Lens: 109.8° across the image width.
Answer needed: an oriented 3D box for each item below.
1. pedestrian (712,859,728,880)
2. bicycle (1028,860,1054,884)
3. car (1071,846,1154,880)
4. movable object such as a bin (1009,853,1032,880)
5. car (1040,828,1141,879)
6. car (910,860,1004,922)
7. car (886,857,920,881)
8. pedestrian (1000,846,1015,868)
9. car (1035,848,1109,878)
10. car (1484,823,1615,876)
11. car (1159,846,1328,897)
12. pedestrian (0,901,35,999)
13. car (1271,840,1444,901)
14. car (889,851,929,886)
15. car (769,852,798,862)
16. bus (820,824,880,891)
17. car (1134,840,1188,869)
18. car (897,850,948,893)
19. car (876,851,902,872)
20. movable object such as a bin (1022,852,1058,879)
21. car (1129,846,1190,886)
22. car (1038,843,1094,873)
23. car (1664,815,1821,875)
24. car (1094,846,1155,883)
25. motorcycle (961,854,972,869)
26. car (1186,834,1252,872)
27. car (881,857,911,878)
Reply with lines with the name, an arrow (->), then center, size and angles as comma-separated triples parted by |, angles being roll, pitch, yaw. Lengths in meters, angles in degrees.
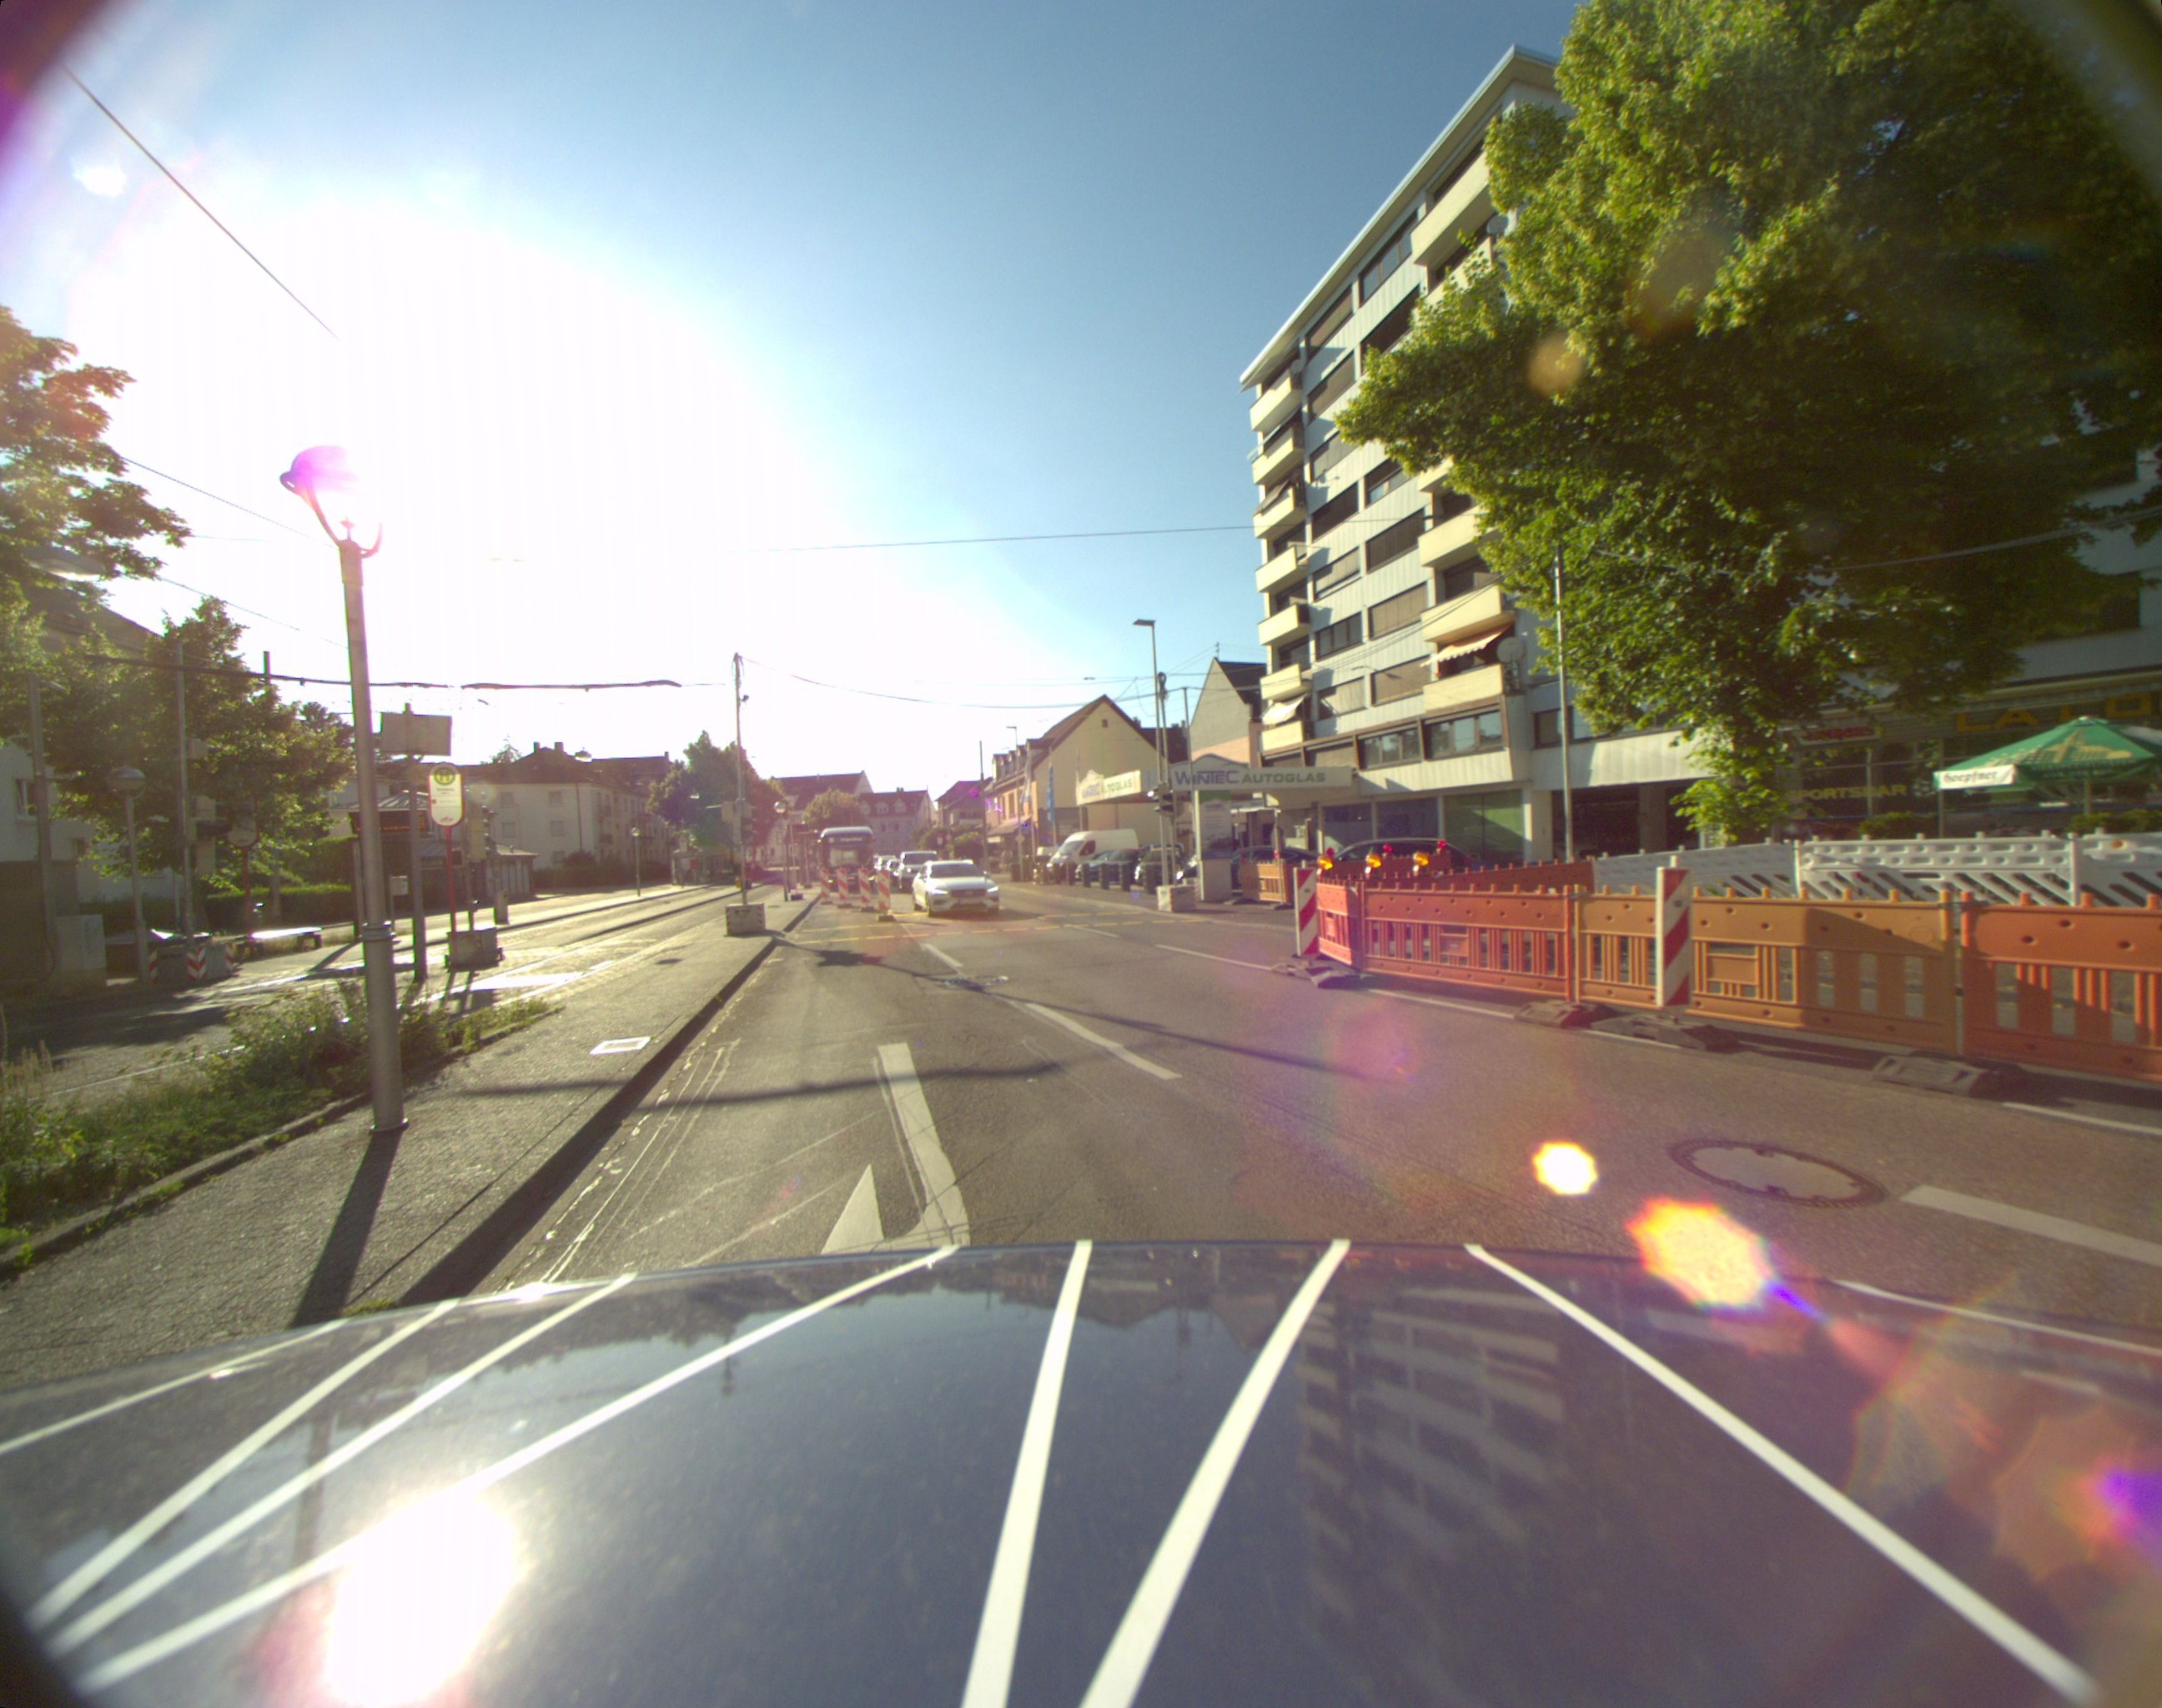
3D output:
pedestrian -> -28.953, 1.250, 60.992 | 0.840, 1.601, 0.827 | -1, 2, 40
bicycle -> -1.923, 0.855, 36.427 | 0.726, 1.080, 1.789 | -3, 1, -19
car -> 1.578, 0.417, 37.332 | 4.038, 1.488, 1.738 | -3, 2, -44
movable object such as a bin -> -3.419, 0.720, 42.894 | 1.046, 1.456, 0.797 | -1, 1, 16
car -> 0.539, -0.064, 39.685 | 5.000, 2.440, 2.109 | -3, 2, -38
car -> -3.531, 0.938, 21.023 | 1.824, 1.446, 4.210 | -2, 1, -19
car -> -11.898, 0.935, 50.494 | 1.972, 1.451, 4.817 | -2, 1, -15
pedestrian -> -5.843, 0.254, 60.171 | 0.811, 1.703, 0.857 | -3, 2, -34
car -> -0.457, 0.459, 42.498 | 4.038, 1.469, 1.738 | -3, 2, -44
car -> 16.319, -0.162, 26.648 | 1.725, 1.664, 3.625 | -2, 1, -19
car -> 4.930, 0.529, 23.139 | 4.677, 1.430, 1.936 | -1, 1, 25
pedestrian -> -18.655, 1.644, 12.826 | 0.792, 1.611, 0.825 | -2, 1, -23
car -> 7.004, 0.400, 19.558 | 3.880, 1.430, 1.596 | -1, 1, 4
car -> -9.912, 0.782, 43.596 | 1.972, 1.816, 5.026 | -2, 1, -15
car -> -56.048, 0.555, 143.128 | 4.590, 1.846, 1.741 | -2, 1, 0
bus -> -13.303, 0.149, 44.087 | 2.752, 3.284, 12.014 | -2, 1, -16
car -> 5.898, 0.013, 56.128 | 3.677, 2.002, 1.449 | -2, 1, -19
car -> -7.459, 0.758, 35.355 | 1.972, 1.816, 5.026 | -2, 1, -15
car -> -16.702, 0.620, 65.915 | 1.972, 1.694, 4.817 | -2, 1, -15
movable object such as a bin -> -2.379, 0.669, 44.196 | 1.799, 1.456, 1.045 | -3, 2, -41
car -> 3.291, 0.460, 31.412 | 1.538, 1.478, 3.378 | -2, 1, 23
car -> -1.049, 0.257, 53.943 | 3.677, 2.002, 1.449 | -2, 1, -19
car -> 20.258, -0.286, 23.323 | 3.755, 1.599, 1.571 | -3, 1, -9
car -> 2.022, 0.451, 34.293 | 1.591, 1.488, 3.440 | -2, 1, 24
motorcycle -> -9.993, 0.628, 66.120 | 0.709, 1.210, 2.183 | -2, 1, -13
car -> 7.537, -0.065, 41.936 | 1.744, 1.933, 4.252 | -3, 1, -17
car -> -14.000, 0.985, 57.354 | 1.972, 1.451, 4.817 | -2, 1, -15
